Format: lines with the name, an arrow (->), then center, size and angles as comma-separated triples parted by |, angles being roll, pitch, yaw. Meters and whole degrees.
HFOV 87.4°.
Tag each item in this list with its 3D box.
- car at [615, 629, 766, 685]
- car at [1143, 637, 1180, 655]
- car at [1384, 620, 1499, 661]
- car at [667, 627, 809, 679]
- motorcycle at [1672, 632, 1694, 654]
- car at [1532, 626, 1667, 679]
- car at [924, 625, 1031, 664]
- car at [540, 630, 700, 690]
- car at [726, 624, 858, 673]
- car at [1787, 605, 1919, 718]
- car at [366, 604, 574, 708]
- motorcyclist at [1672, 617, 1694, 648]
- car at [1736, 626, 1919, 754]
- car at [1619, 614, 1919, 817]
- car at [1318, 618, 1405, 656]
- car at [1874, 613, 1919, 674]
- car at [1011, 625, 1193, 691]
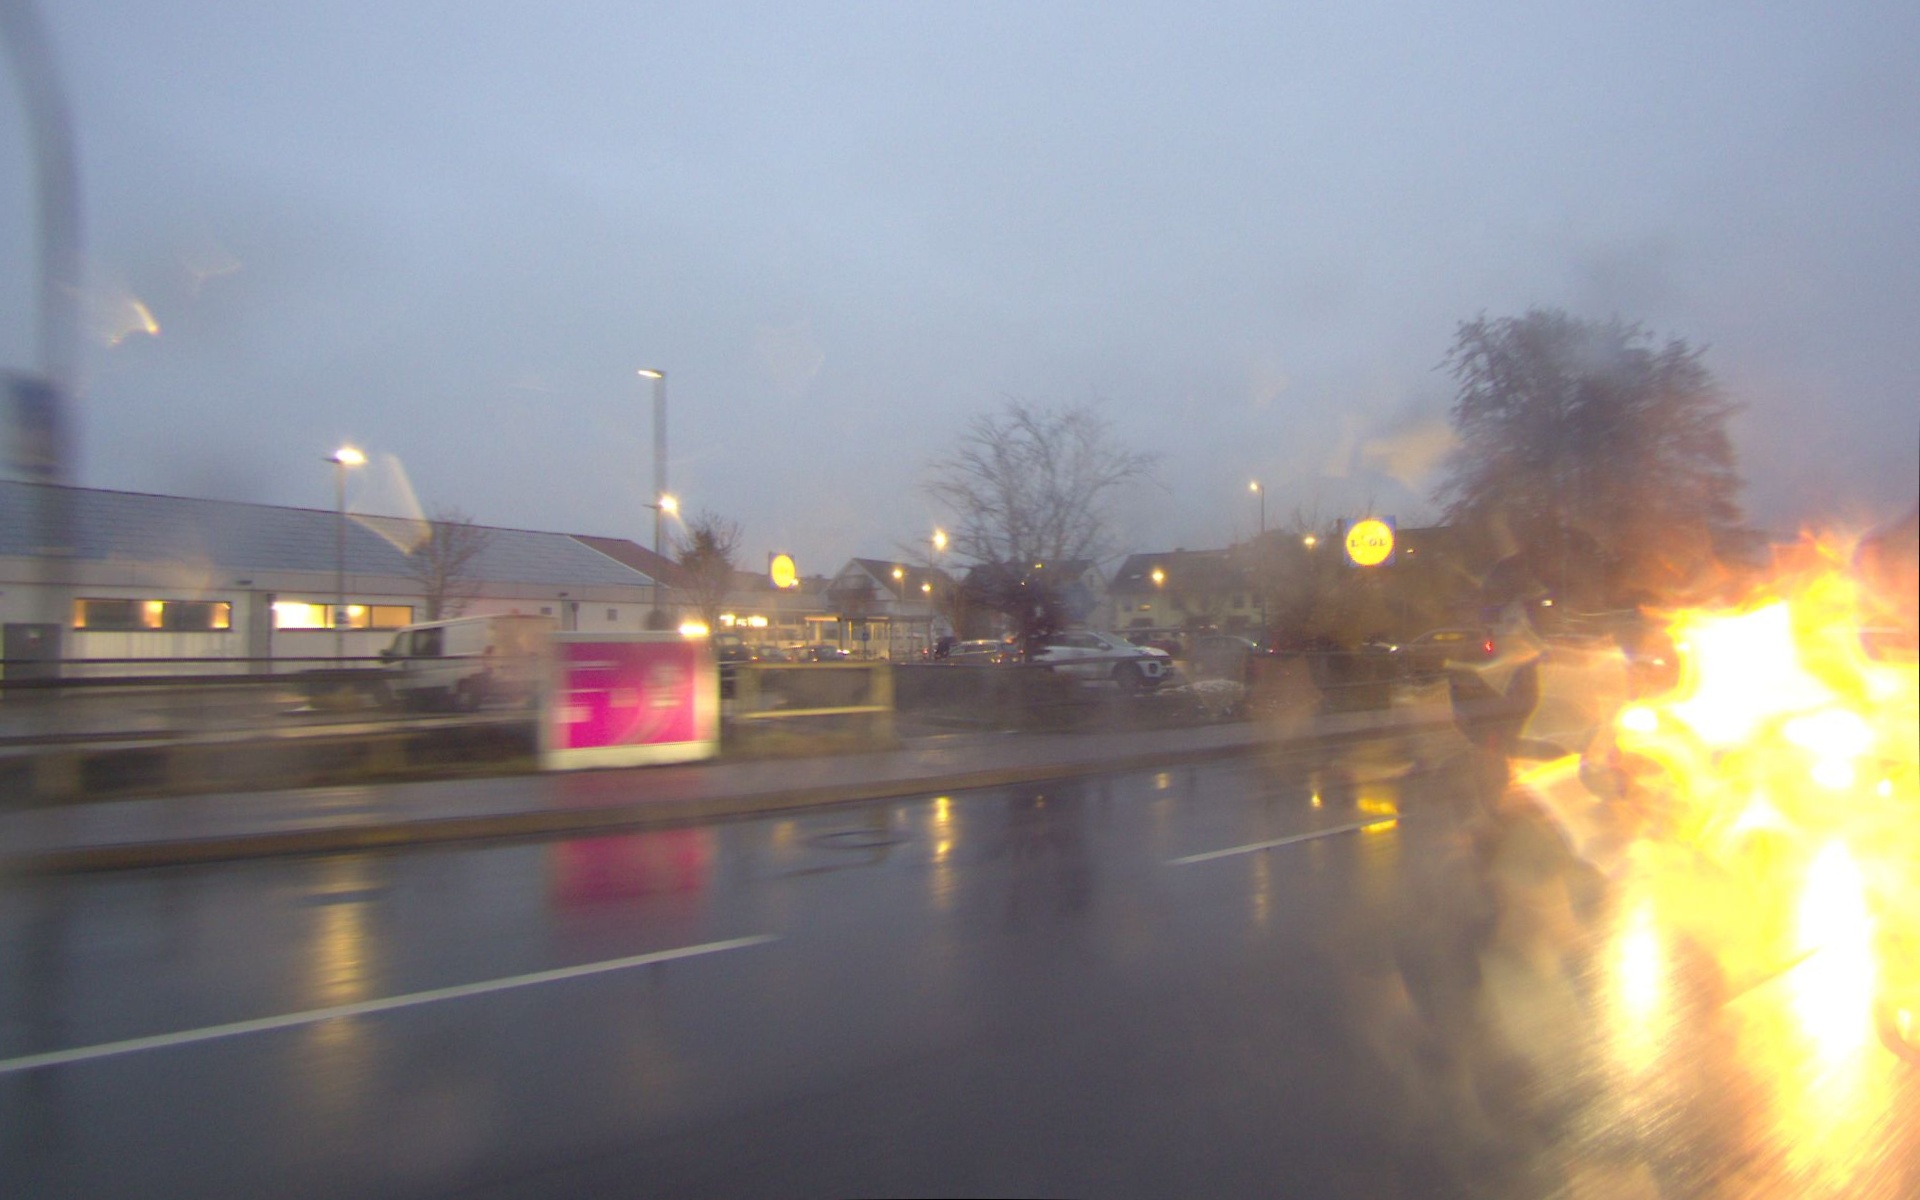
car -> -8.314, 1.765, 30.902 | 4.368, 1.584, 2.051 | -3, -2, 32
car -> 14.897, 3.368, 74.305 | 1.539, 1.146, 3.384 | 2, 1, 33
car -> 21.585, 1.795, 45.073 | 4.350, 1.694, 1.962 | -1, -1, 36
car -> -7.380, 1.760, 33.313 | 4.368, 1.584, 2.051 | -3, -2, 32
motorcycle -> 35.202, 2.067, 48.915 | 0.854, 1.037, 2.102 | 0, -2, 36
car -> 24.116, 1.923, 37.920 | 4.170, 1.722, 1.894 | 2, 0, 36
car -> 0.768, 1.998, 45.252 | 4.368, 1.584, 2.051 | -3, -2, 32
car -> -9.871, 1.751, 29.074 | 4.368, 1.584, 2.051 | -3, -2, 32
car -> -6.055, 1.748, 36.056 | 4.368, 1.584, 2.051 | -3, -2, 32
car -> 15.922, 1.006, 17.637 | 1.754, 1.746, 4.393 | -2, -2, 45
car -> -12.141, 1.380, 24.788 | 5.113, 2.312, 2.214 | -3, -2, 32
motorcyclist -> 35.205, 1.596, 48.913 | 0.854, 1.505, 0.906 | 0, -2, 36
car -> 12.191, 1.116, 13.895 | 4.015, 1.514, 1.754 | 1, -2, -44
car -> 7.807, 0.929, 9.392 | 3.966, 1.505, 1.649 | 2, -2, -39
car -> 23.574, 2.136, 58.957 | 4.574, 2.003, 2.126 | 1, 1, 27
car -> 33.005, 1.479, 34.221 | 2.281, 1.964, 4.999 | -2, -3, 37
car -> 3.999, 1.585, 28.551 | 4.702, 1.734, 2.029 | -1, -2, 31
